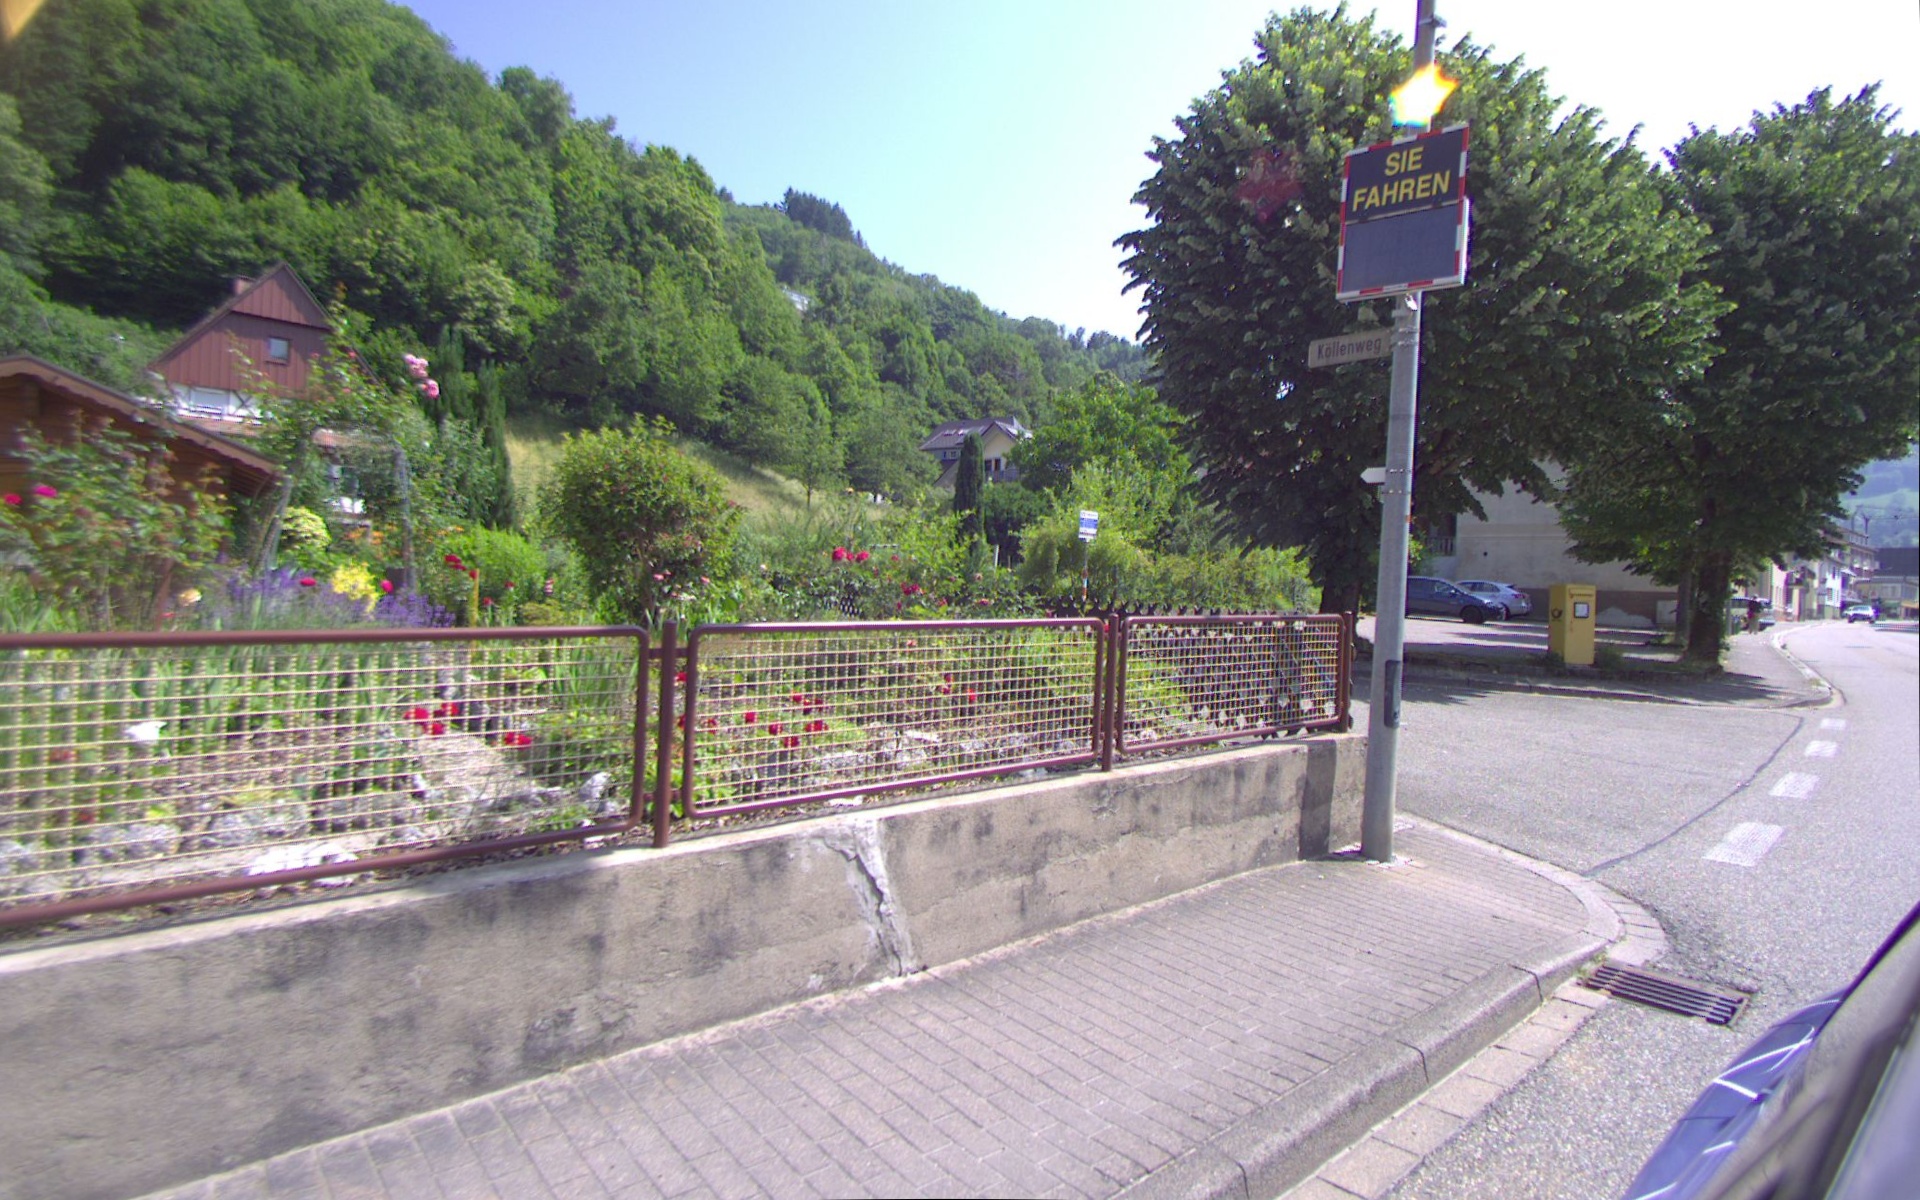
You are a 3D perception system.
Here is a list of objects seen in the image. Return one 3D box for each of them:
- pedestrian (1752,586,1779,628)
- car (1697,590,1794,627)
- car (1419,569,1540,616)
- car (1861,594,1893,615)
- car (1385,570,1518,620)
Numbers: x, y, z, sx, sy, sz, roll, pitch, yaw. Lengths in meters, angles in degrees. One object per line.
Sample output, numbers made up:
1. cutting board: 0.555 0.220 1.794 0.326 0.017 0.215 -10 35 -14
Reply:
1. pedestrian: 34.081 0.292 42.824 0.699 1.691 0.682 1 2 -39
2. car: 38.814 0.410 50.097 1.616 1.615 3.353 1 2 -27
3. car: 20.062 -0.311 39.151 3.926 1.489 1.634 6 3 36
4. car: 93.166 0.492 102.803 3.932 2.039 1.996 0 -1 -42
5. car: 16.933 -0.202 34.939 3.825 1.424 1.545 6 4 37
